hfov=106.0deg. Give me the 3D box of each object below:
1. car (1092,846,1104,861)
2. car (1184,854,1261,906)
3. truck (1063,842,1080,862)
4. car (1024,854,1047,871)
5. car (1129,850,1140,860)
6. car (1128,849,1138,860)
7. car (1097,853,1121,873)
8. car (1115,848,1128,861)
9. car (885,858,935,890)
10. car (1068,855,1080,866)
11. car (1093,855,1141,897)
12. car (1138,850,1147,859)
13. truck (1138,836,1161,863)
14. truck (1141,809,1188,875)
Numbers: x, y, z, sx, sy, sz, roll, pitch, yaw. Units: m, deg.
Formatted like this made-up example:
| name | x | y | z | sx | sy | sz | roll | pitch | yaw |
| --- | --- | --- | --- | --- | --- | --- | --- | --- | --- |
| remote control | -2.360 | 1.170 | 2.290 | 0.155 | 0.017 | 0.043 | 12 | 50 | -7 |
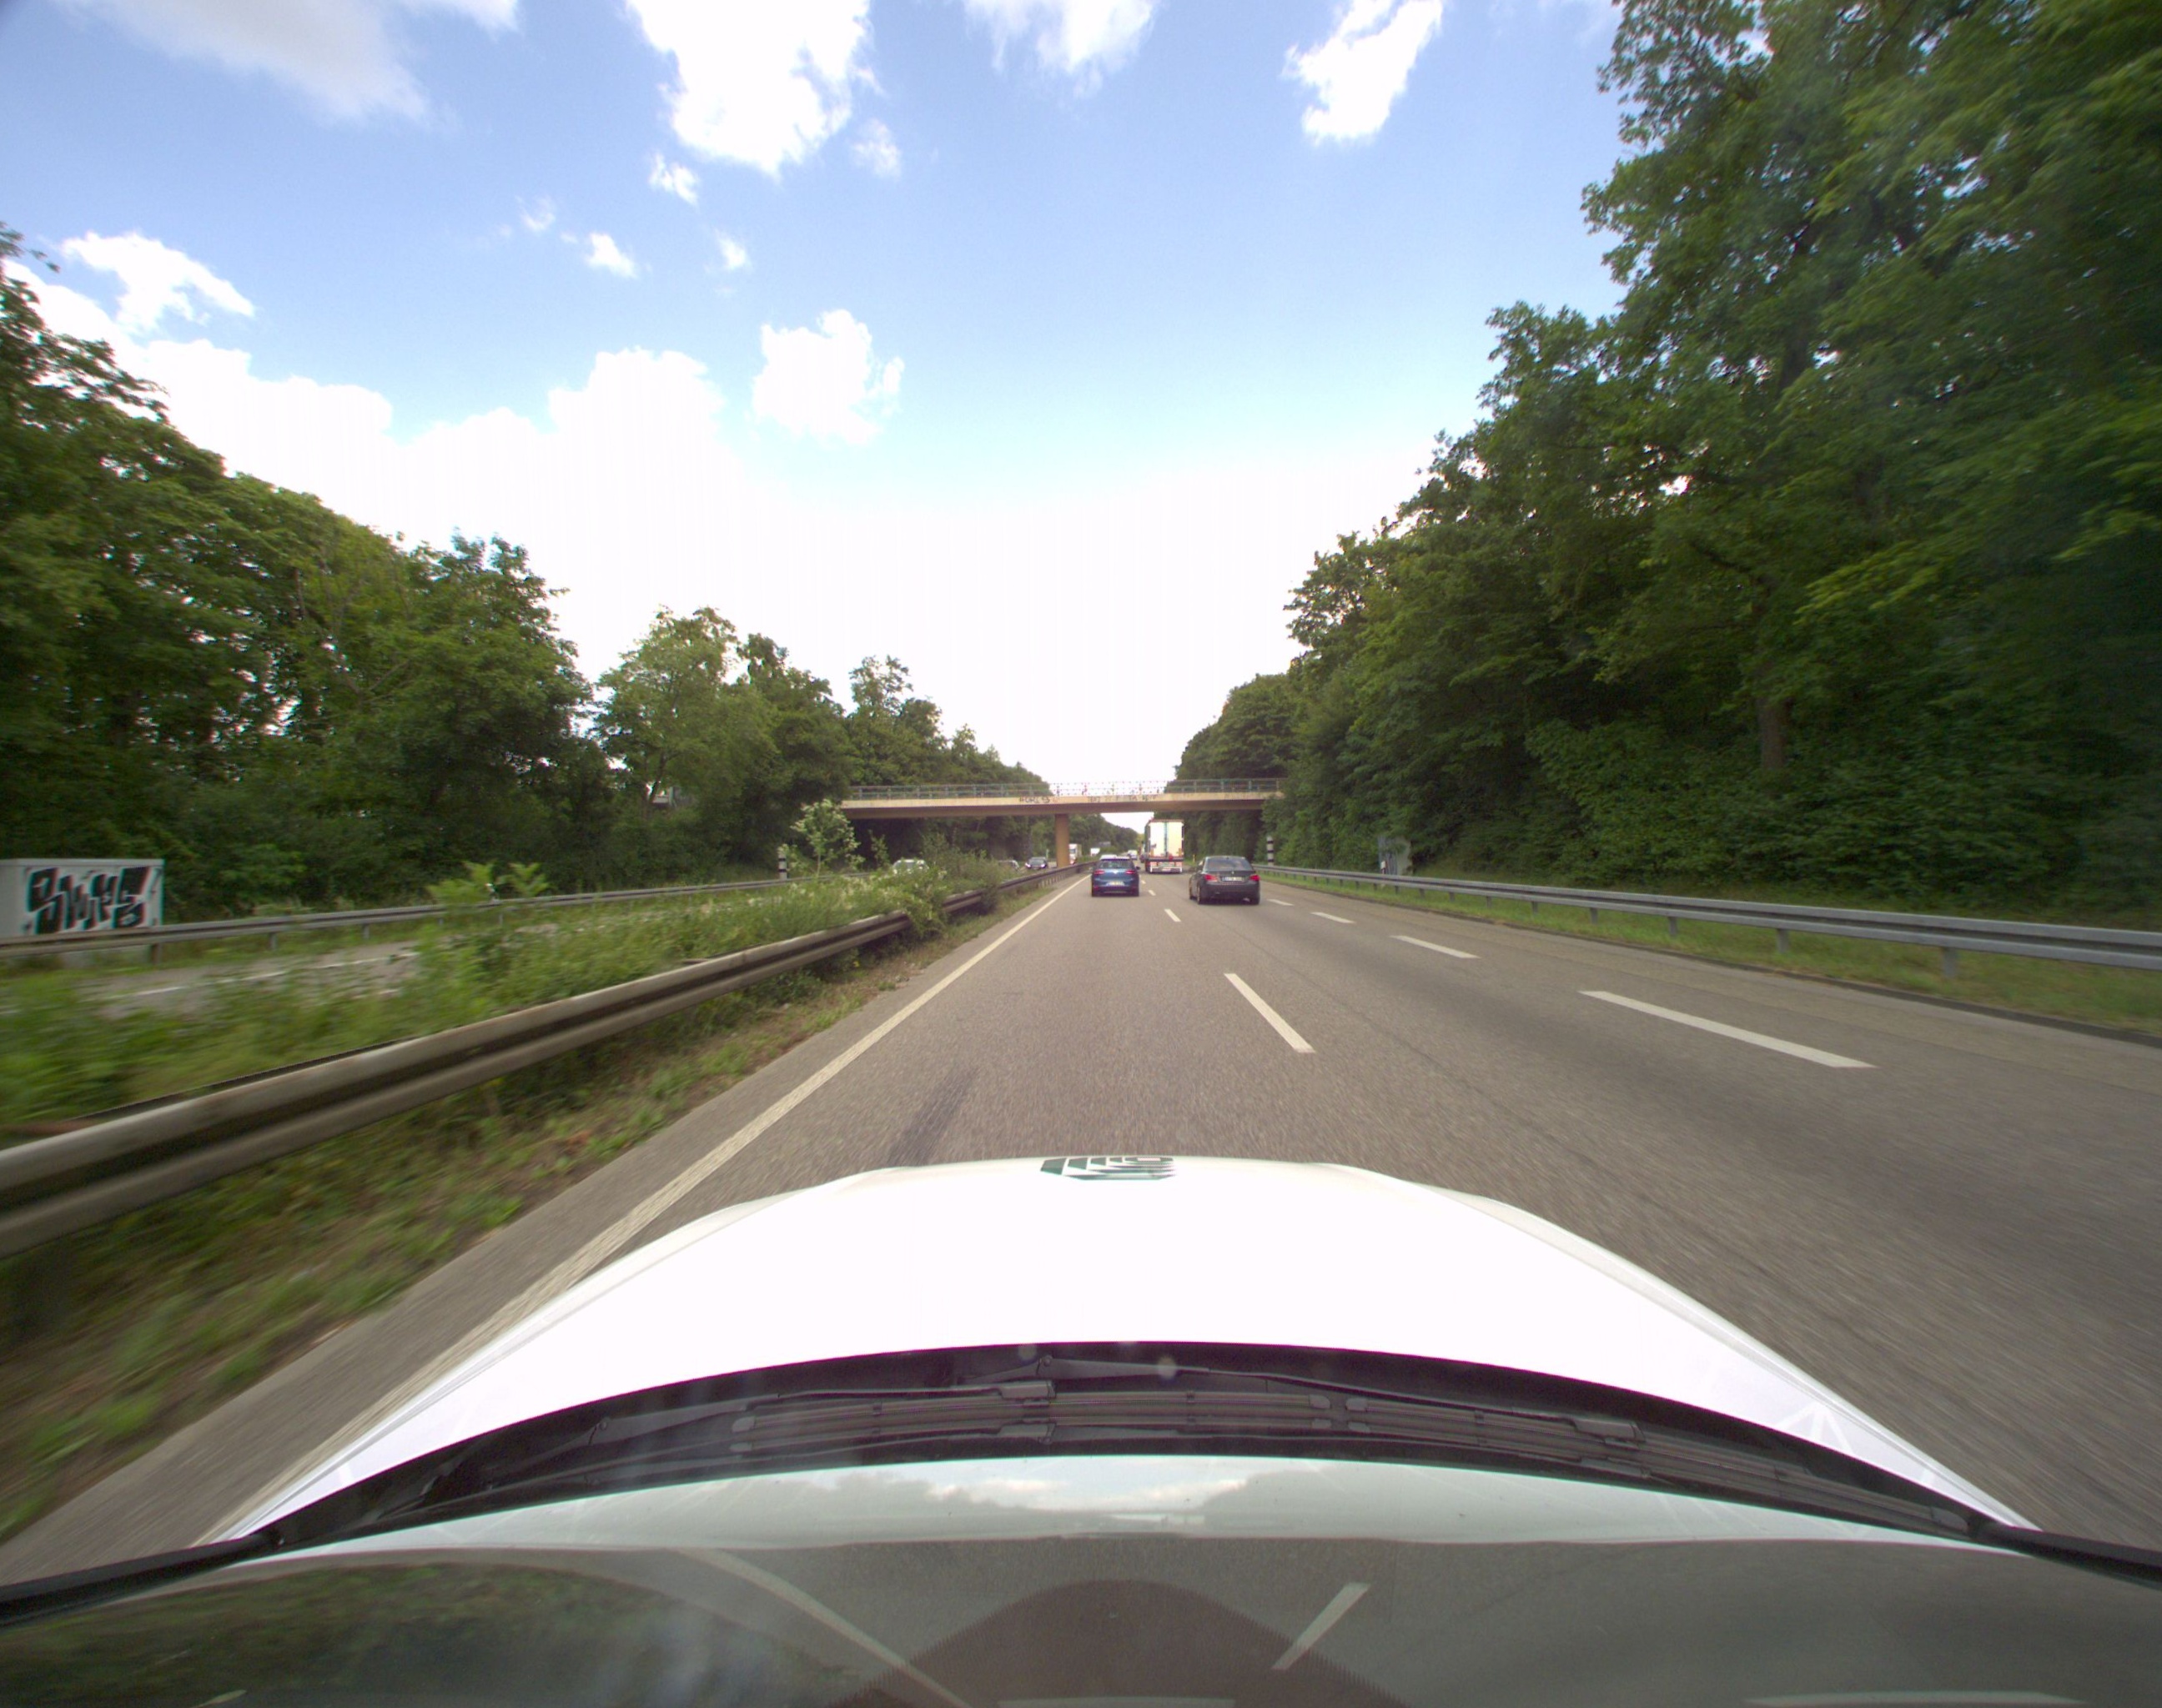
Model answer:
| name | x | y | z | sx | sy | sz | roll | pitch | yaw |
| --- | --- | --- | --- | --- | --- | --- | --- | --- | --- |
| car | 3.935 | -0.048 | 186.621 | 2.278 | 3.232 | 7.292 | -2 | 0 | 3 |
| car | 4.332 | 0.731 | 25.576 | 1.767 | 1.475 | 4.883 | 0 | 0 | 2 |
| truck | -1.981 | -0.464 | 172.526 | 3.026 | 3.986 | 6.756 | -1 | 0 | 4 |
| car | -4.501 | 0.840 | 81.611 | 1.858 | 1.589 | 4.568 | -2 | 0 | 2 |
| car | 10.238 | 0.246 | 155.019 | 1.944 | 1.855 | 4.006 | -2 | 0 | 5 |
| car | 11.217 | 0.073 | 177.407 | 1.986 | 2.255 | 4.444 | -1 | 0 | 2 |
| car | 2.269 | 0.712 | 65.049 | 1.658 | 1.500 | 4.157 | 0 | 0 | 4 |
| car | 6.552 | 0.046 | 130.864 | 1.945 | 2.013 | 4.004 | -2 | 0 | 4 |
| car | -10.008 | 1.144 | 48.076 | 1.779 | 1.738 | 4.882 | -2 | 0 | 1 |
| car | -1.025 | 0.962 | 122.307 | 1.678 | 1.476 | 4.439 | -2 | 0 | 2 |
| car | 1.384 | 0.765 | 30.603 | 1.698 | 1.470 | 4.004 | 0 | 0 | 3 |
| car | 15.298 | 0.123 | 204.280 | 1.986 | 2.327 | 4.444 | -2 | 0 | 2 |
| truck | 11.630 | -0.630 | 138.877 | 3.220 | 4.386 | 12.976 | 0 | -1 | 2 |
| truck | 6.518 | -0.888 | 64.827 | 3.228 | 4.716 | 11.018 | -2 | 0 | 4 |
